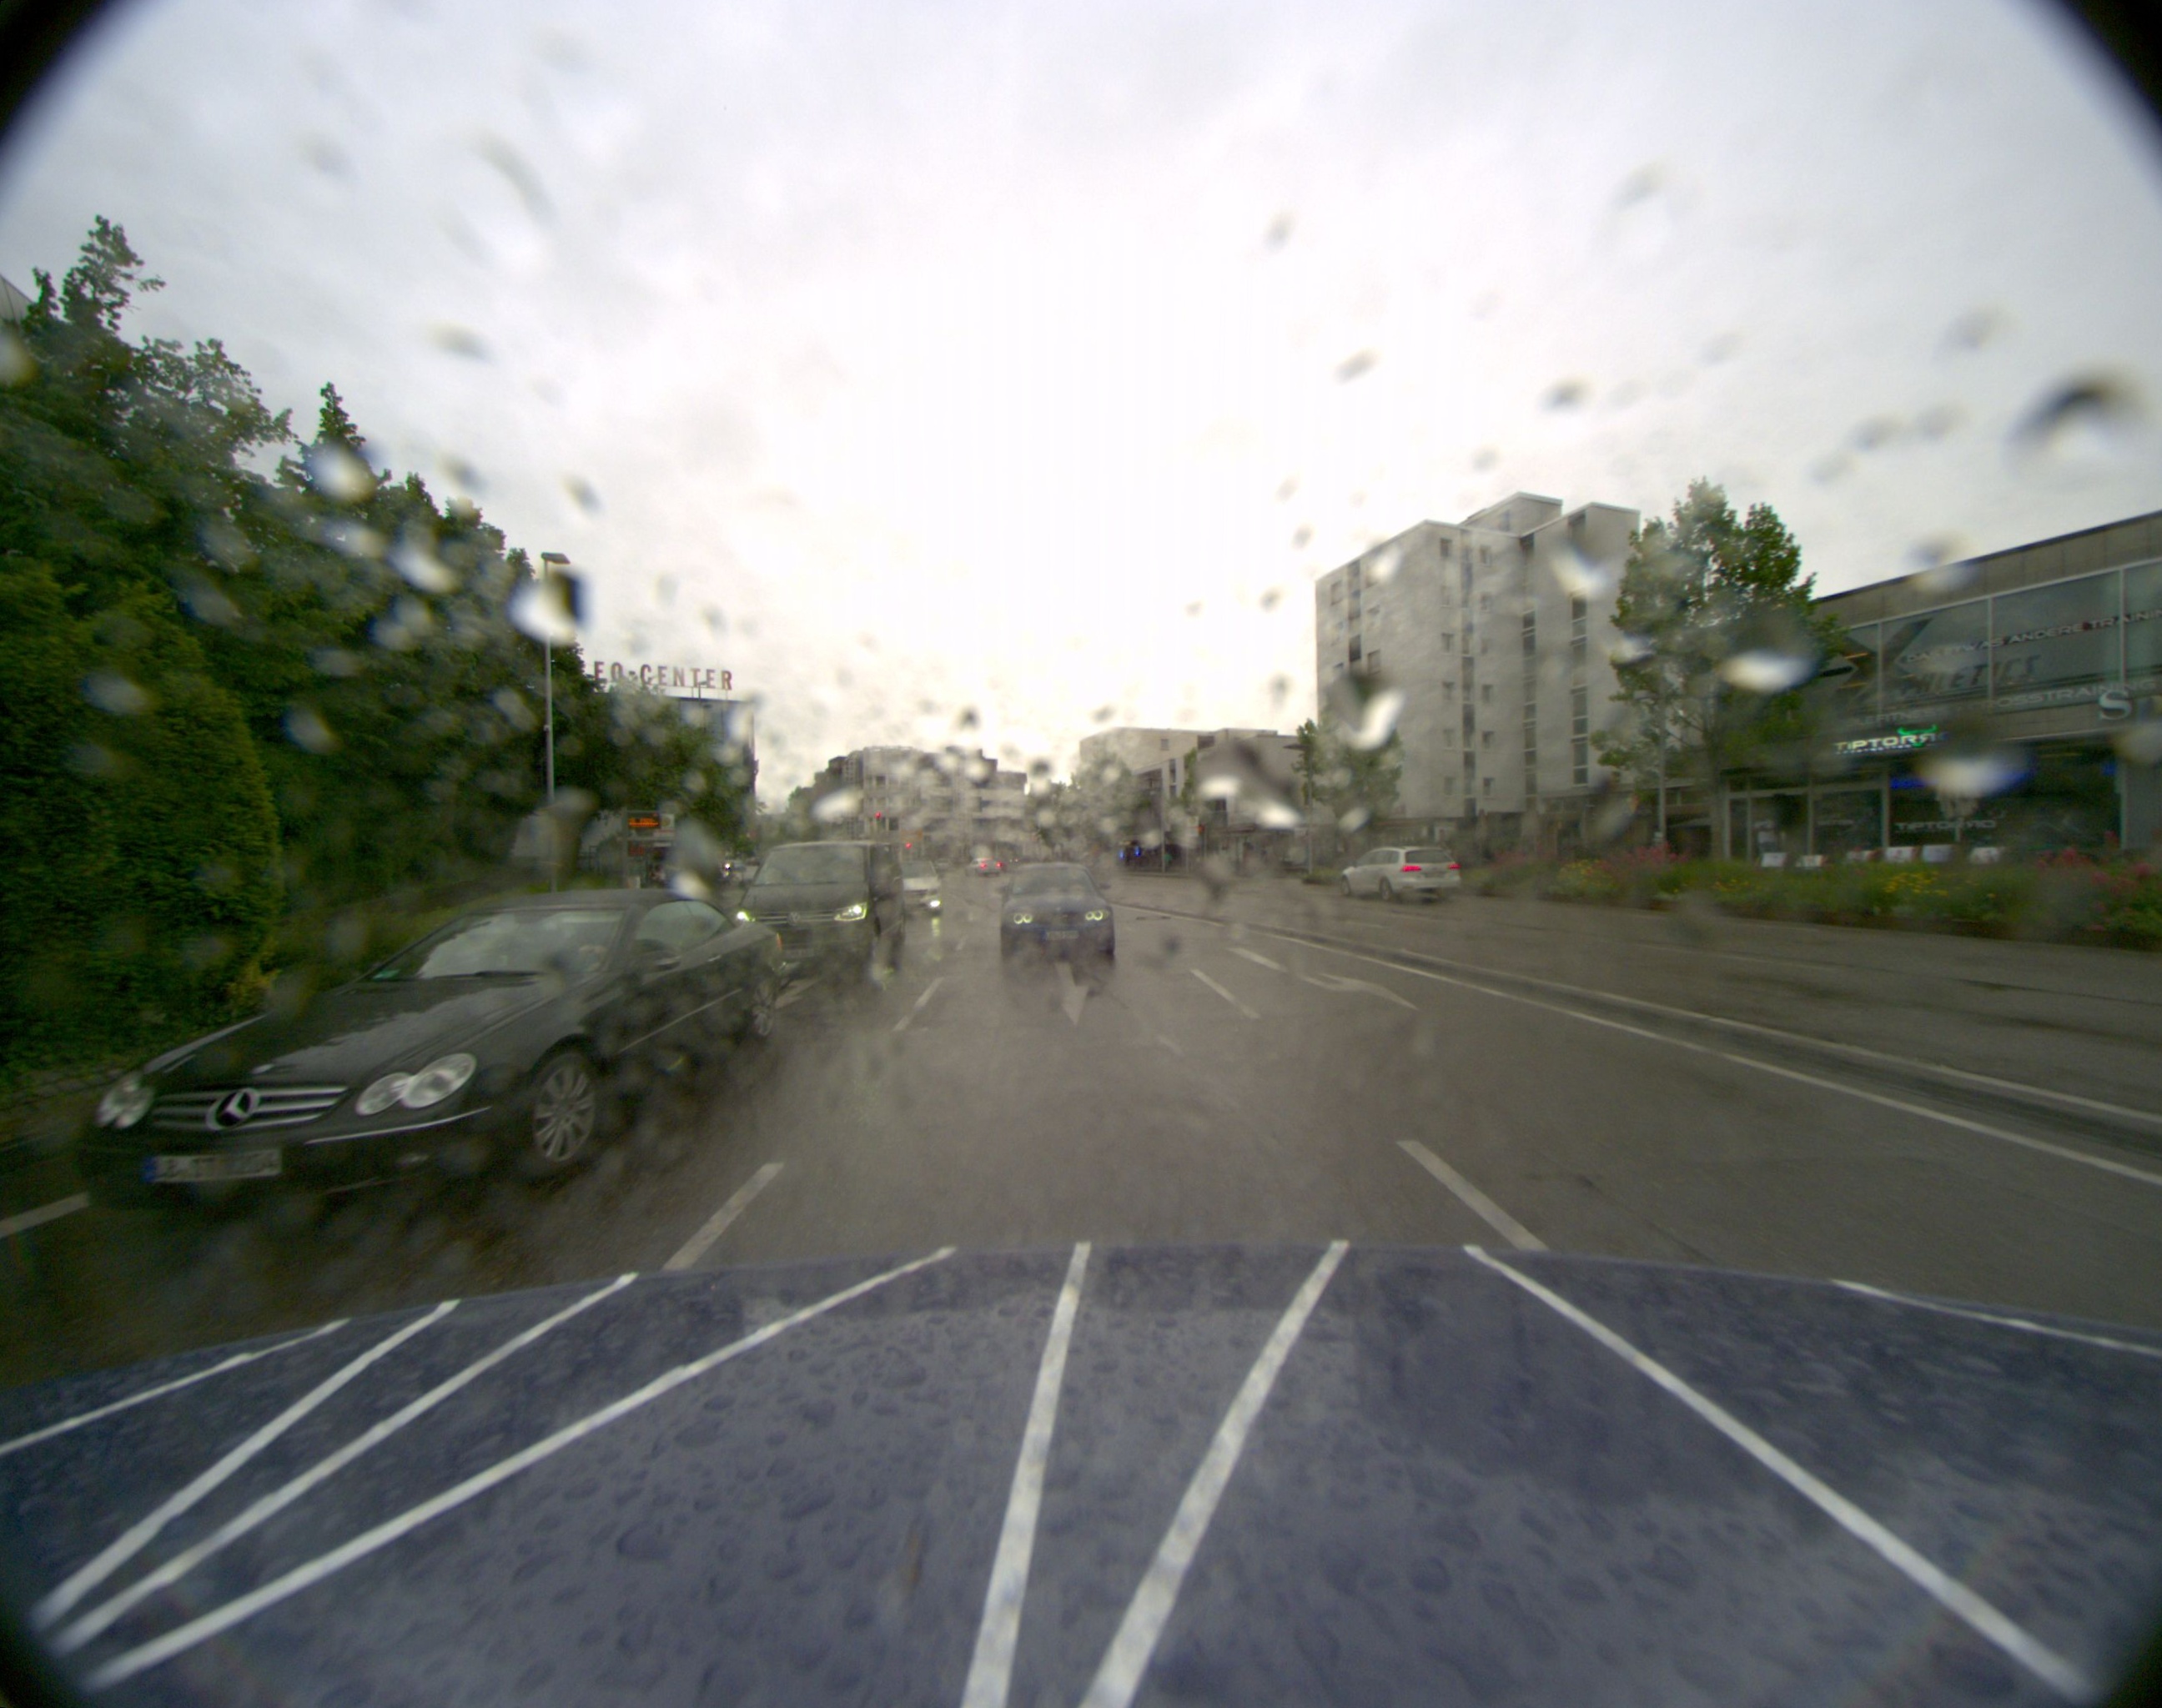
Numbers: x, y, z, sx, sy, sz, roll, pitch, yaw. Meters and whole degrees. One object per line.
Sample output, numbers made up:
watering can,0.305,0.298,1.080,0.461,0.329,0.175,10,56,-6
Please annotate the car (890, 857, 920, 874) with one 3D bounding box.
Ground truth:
car,-16.284,1.051,70.274,1.765,1.443,3.992,-2,0,-26

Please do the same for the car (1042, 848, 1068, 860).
car,-4.231,-0.013,124.445,3.903,1.710,1.743,-2,1,-38

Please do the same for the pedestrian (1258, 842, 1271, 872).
pedestrian,10.545,0.167,43.583,0.537,1.649,0.479,-2,1,-14

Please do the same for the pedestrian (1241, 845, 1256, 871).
pedestrian,10.098,0.241,45.799,0.538,1.496,0.613,-2,1,-43

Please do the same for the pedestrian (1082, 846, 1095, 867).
pedestrian,0.767,0.214,73.875,0.907,2.002,0.976,-2,1,-21

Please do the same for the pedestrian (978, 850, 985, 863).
pedestrian,-13.217,0.307,101.010,0.683,1.733,0.585,-2,2,6

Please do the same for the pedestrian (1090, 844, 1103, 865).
pedestrian,1.541,0.047,74.289,0.907,2.002,0.976,-2,1,-21

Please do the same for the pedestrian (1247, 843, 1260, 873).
pedestrian,9.845,0.232,43.376,0.480,1.649,0.536,-2,1,-19

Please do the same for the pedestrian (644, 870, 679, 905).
pedestrian,-15.546,1.236,28.176,1.034,1.274,0.691,1,0,-22

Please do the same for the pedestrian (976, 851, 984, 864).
pedestrian,-13.270,0.442,99.648,0.839,1.733,0.584,-3,2,-14

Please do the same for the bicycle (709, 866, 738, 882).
bicycle,-25.870,1.430,54.951,1.838,1.104,0.693,0,1,-22

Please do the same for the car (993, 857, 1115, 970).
car,-0.442,0.847,12.659,1.676,1.534,3.912,-2,0,-2

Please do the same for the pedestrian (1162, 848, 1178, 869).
pedestrian,7.039,0.323,60.366,1.011,1.636,0.725,-2,1,-20

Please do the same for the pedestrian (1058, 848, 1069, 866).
pedestrian,-1.893,0.319,80.767,0.906,1.904,0.976,-2,0,-14

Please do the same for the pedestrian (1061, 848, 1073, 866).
pedestrian,-1.475,0.322,80.772,0.907,1.904,0.976,-2,0,-21

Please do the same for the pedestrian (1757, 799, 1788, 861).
pedestrian,20.808,-0.716,22.866,0.427,1.837,0.501,-2,1,-9

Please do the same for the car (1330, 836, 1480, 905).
car,8.883,0.390,21.312,1.891,1.672,4.502,-2,1,-6

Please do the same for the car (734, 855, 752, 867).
car,-46.876,0.974,105.317,1.904,1.517,3.991,-2,1,-30

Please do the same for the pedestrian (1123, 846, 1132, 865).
pedestrian,4.340,0.139,71.036,0.550,1.740,0.679,-2,1,-18

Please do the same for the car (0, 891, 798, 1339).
car,-3.502,1.089,5.115,1.636,1.378,4.513,-2,0,-3

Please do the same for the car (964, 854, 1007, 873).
car,-7.703,0.740,61.040,1.850,1.452,4.798,-2,1,-27

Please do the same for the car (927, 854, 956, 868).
car,-14.536,0.704,78.873,1.708,1.457,4.094,-1,0,-30

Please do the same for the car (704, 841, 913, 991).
car,-4.055,0.779,12.231,2.001,1.883,4.584,-2,1,-5

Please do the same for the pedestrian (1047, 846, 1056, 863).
pedestrian,-3.569,0.048,92.317,0.761,2.002,0.862,-2,1,-21

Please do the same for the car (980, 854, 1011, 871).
car,-7.696,0.746,68.178,1.765,1.418,3.993,-2,0,-22

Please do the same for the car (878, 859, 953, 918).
car,-4.905,0.952,23.054,1.763,1.540,4.323,-2,0,-7

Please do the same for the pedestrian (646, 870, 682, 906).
pedestrian,-15.105,1.228,27.553,1.034,1.274,0.691,1,0,-22
